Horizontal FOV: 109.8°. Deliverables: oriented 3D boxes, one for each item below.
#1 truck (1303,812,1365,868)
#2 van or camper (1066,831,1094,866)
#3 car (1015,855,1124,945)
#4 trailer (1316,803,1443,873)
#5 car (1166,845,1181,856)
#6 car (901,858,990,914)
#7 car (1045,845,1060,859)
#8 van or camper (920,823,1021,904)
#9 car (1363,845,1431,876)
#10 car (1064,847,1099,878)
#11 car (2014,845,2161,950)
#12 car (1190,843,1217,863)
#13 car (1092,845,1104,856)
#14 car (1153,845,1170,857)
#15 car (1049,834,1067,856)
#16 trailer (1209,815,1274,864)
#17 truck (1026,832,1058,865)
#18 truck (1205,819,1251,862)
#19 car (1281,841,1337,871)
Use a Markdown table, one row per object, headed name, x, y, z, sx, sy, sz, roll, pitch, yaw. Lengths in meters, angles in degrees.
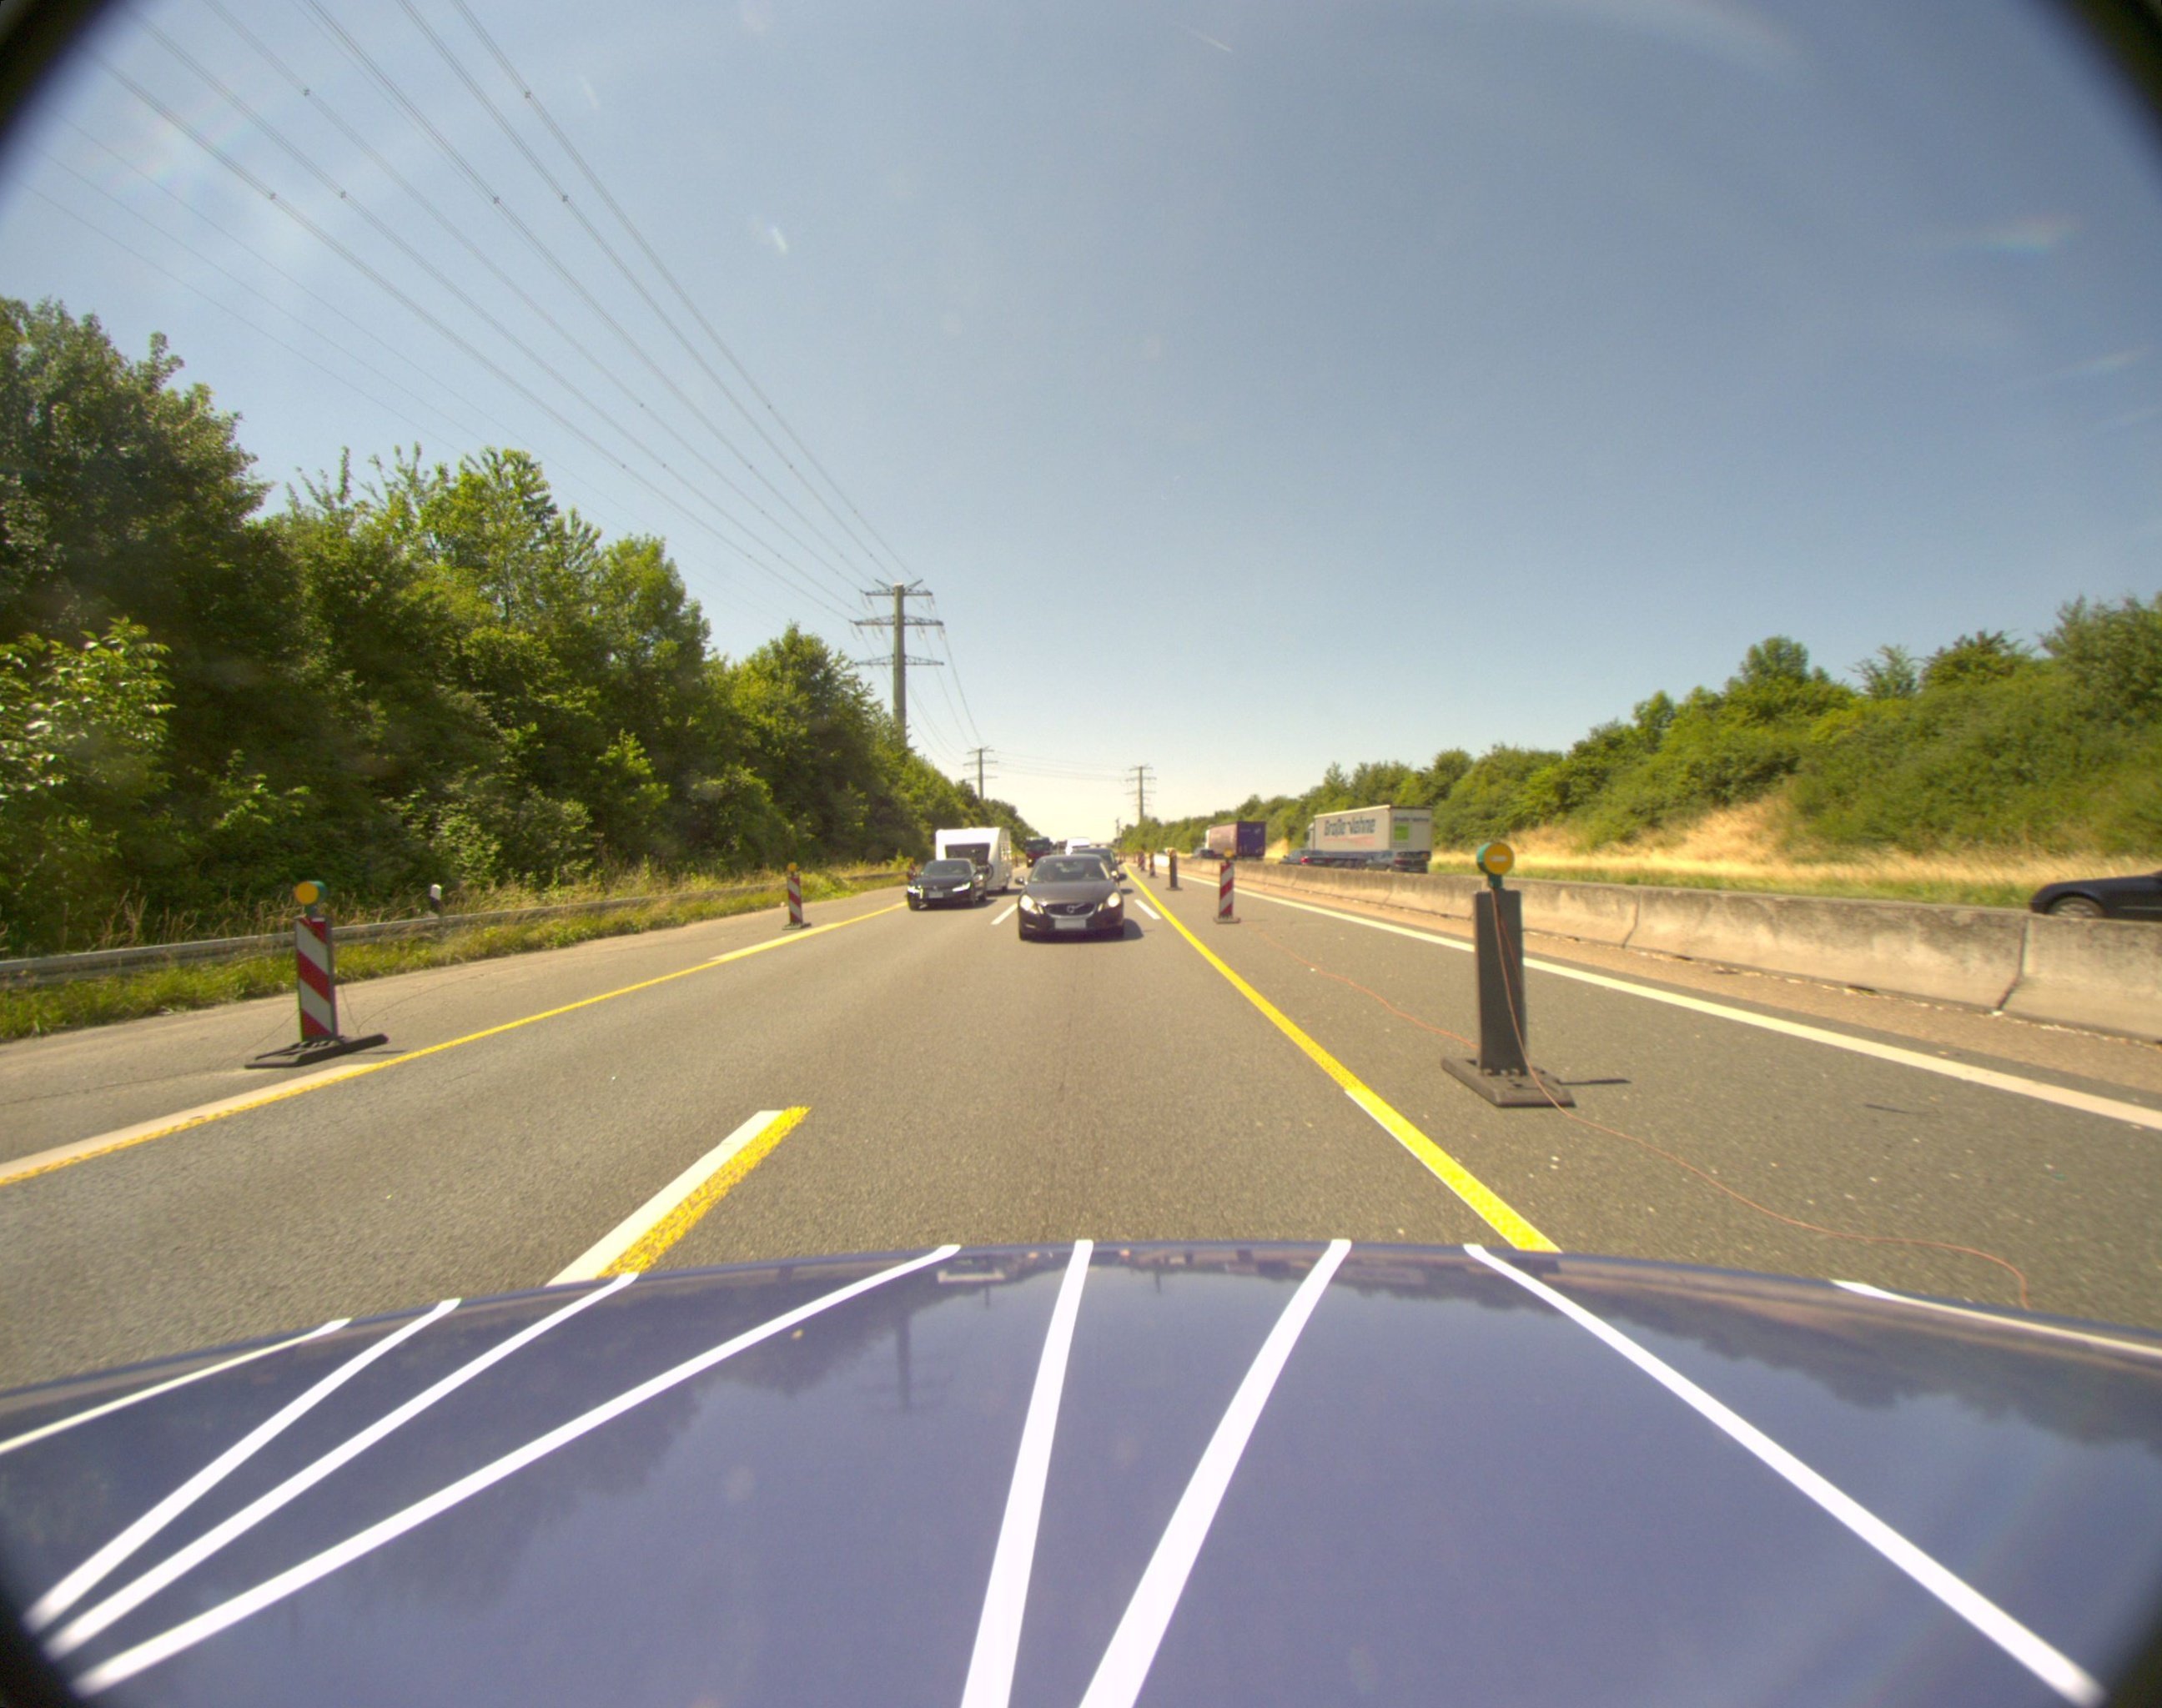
| name | x | y | z | sx | sy | sz | roll | pitch | yaw |
| --- | --- | --- | --- | --- | --- | --- | --- | --- | --- |
| truck | 19.326 | -1.054 | 58.305 | 2.953 | 4.053 | 5.195 | 0 | 1 | -1 |
| van or camper | 0.007 | -0.463 | 59.446 | 1.998 | 2.604 | 5.629 | 0 | 1 | 2 |
| car | -0.163 | 0.785 | 14.868 | 1.798 | 1.433 | 4.000 | -2 | 1 | 1 |
| trailer | 19.392 | -1.001 | 50.829 | 2.960 | 4.038 | 13.635 | 1 | 1 | 0 |
| car | 14.843 | -0.550 | 121.985 | 1.871 | 1.782 | 5.455 | -1 | 1 | 1 |
| car | -3.916 | 0.887 | 22.710 | 1.800 | 1.399 | 4.209 | -2 | 1 | 1 |
| car | -3.939 | -0.298 | 104.885 | 1.850 | 1.810 | 3.925 | -3 | 1 | 1 |
| van or camper | -3.937 | 0.260 | 29.027 | 2.432 | 2.549 | 8.416 | -2 | 1 | 1 |
| car | 15.298 | 0.282 | 36.947 | 1.507 | 1.388 | 4.088 | -1 | 1 | -2 |
| car | 0.076 | 0.445 | 43.090 | 1.744 | 1.659 | 4.157 | -2 | 1 | 2 |
| car | 16.158 | 0.613 | 10.044 | 1.998 | 1.452 | 4.586 | -1 | 1 | 0 |
| car | 11.343 | -0.111 | 70.486 | 1.846 | 1.705 | 4.395 | -1 | 1 | 0 |
| car | 2.576 | -0.509 | 116.431 | 1.675 | 1.619 | 4.691 | -4 | 0 | 2 |
| car | 10.746 | -0.433 | 101.634 | 1.767 | 1.463 | 4.633 | -1 | 1 | 1 |
| car | -4.112 | -1.603 | 138.517 | 2.397 | 3.779 | 10.272 | -3 | 1 | 2 |
| trailer | 15.099 | -1.333 | 72.907 | 3.168 | 4.156 | 13.681 | -1 | 1 | -1 |
| truck | -4.063 | -0.595 | 79.998 | 2.431 | 3.122 | 7.648 | -4 | 0 | 2 |
| truck | 15.035 | -1.361 | 78.127 | 3.172 | 4.200 | 7.413 | -1 | 1 | -1 |
| car | 11.490 | 0.060 | 38.483 | 1.620 | 1.434 | 3.989 | -1 | 1 | 0 |
